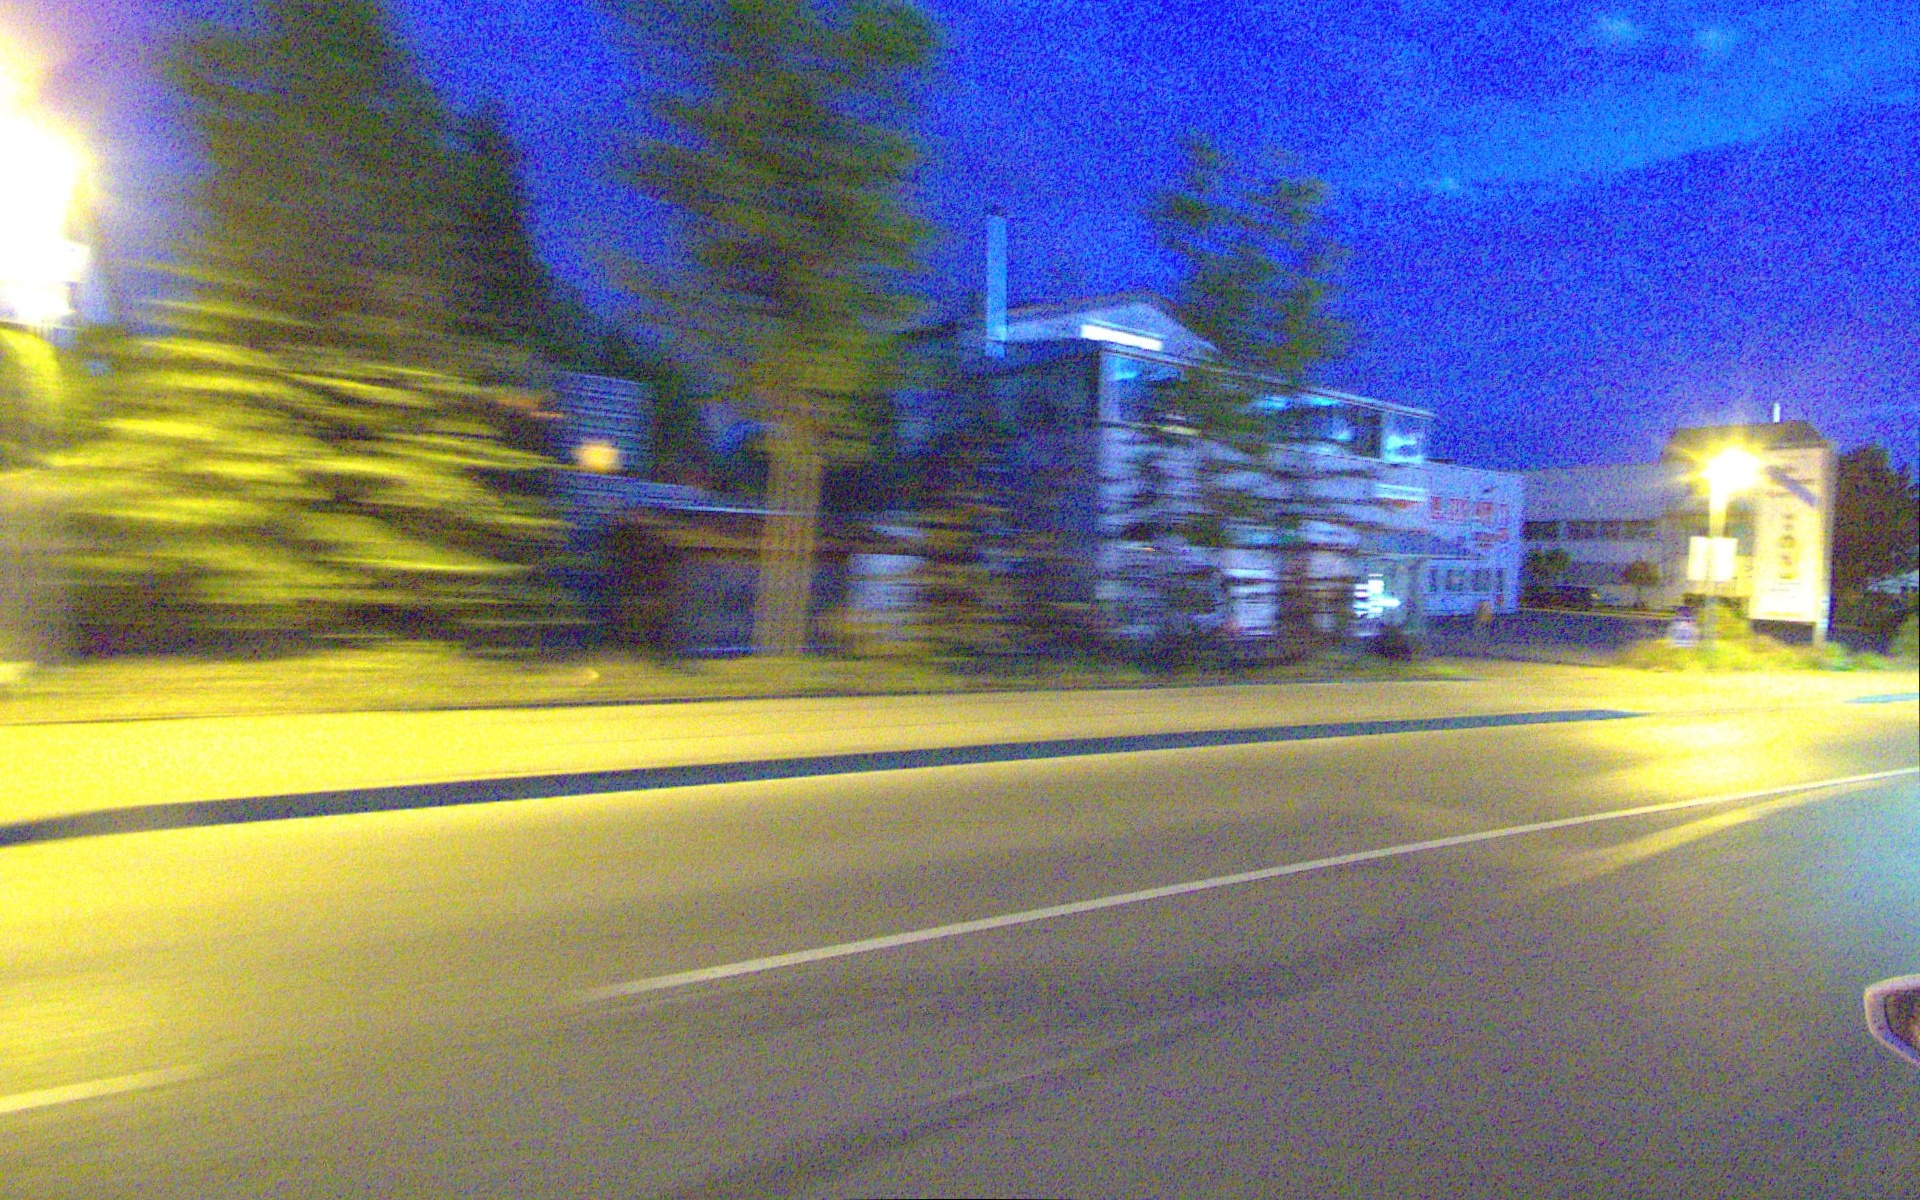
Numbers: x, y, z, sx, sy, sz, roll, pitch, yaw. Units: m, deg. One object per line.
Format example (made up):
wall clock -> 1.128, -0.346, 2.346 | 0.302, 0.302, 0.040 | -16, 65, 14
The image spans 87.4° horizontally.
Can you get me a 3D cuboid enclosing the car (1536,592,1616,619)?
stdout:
car -> 42.263, 0.361, 69.004 | 1.897, 1.611, 4.293 | 0, 3, -43
